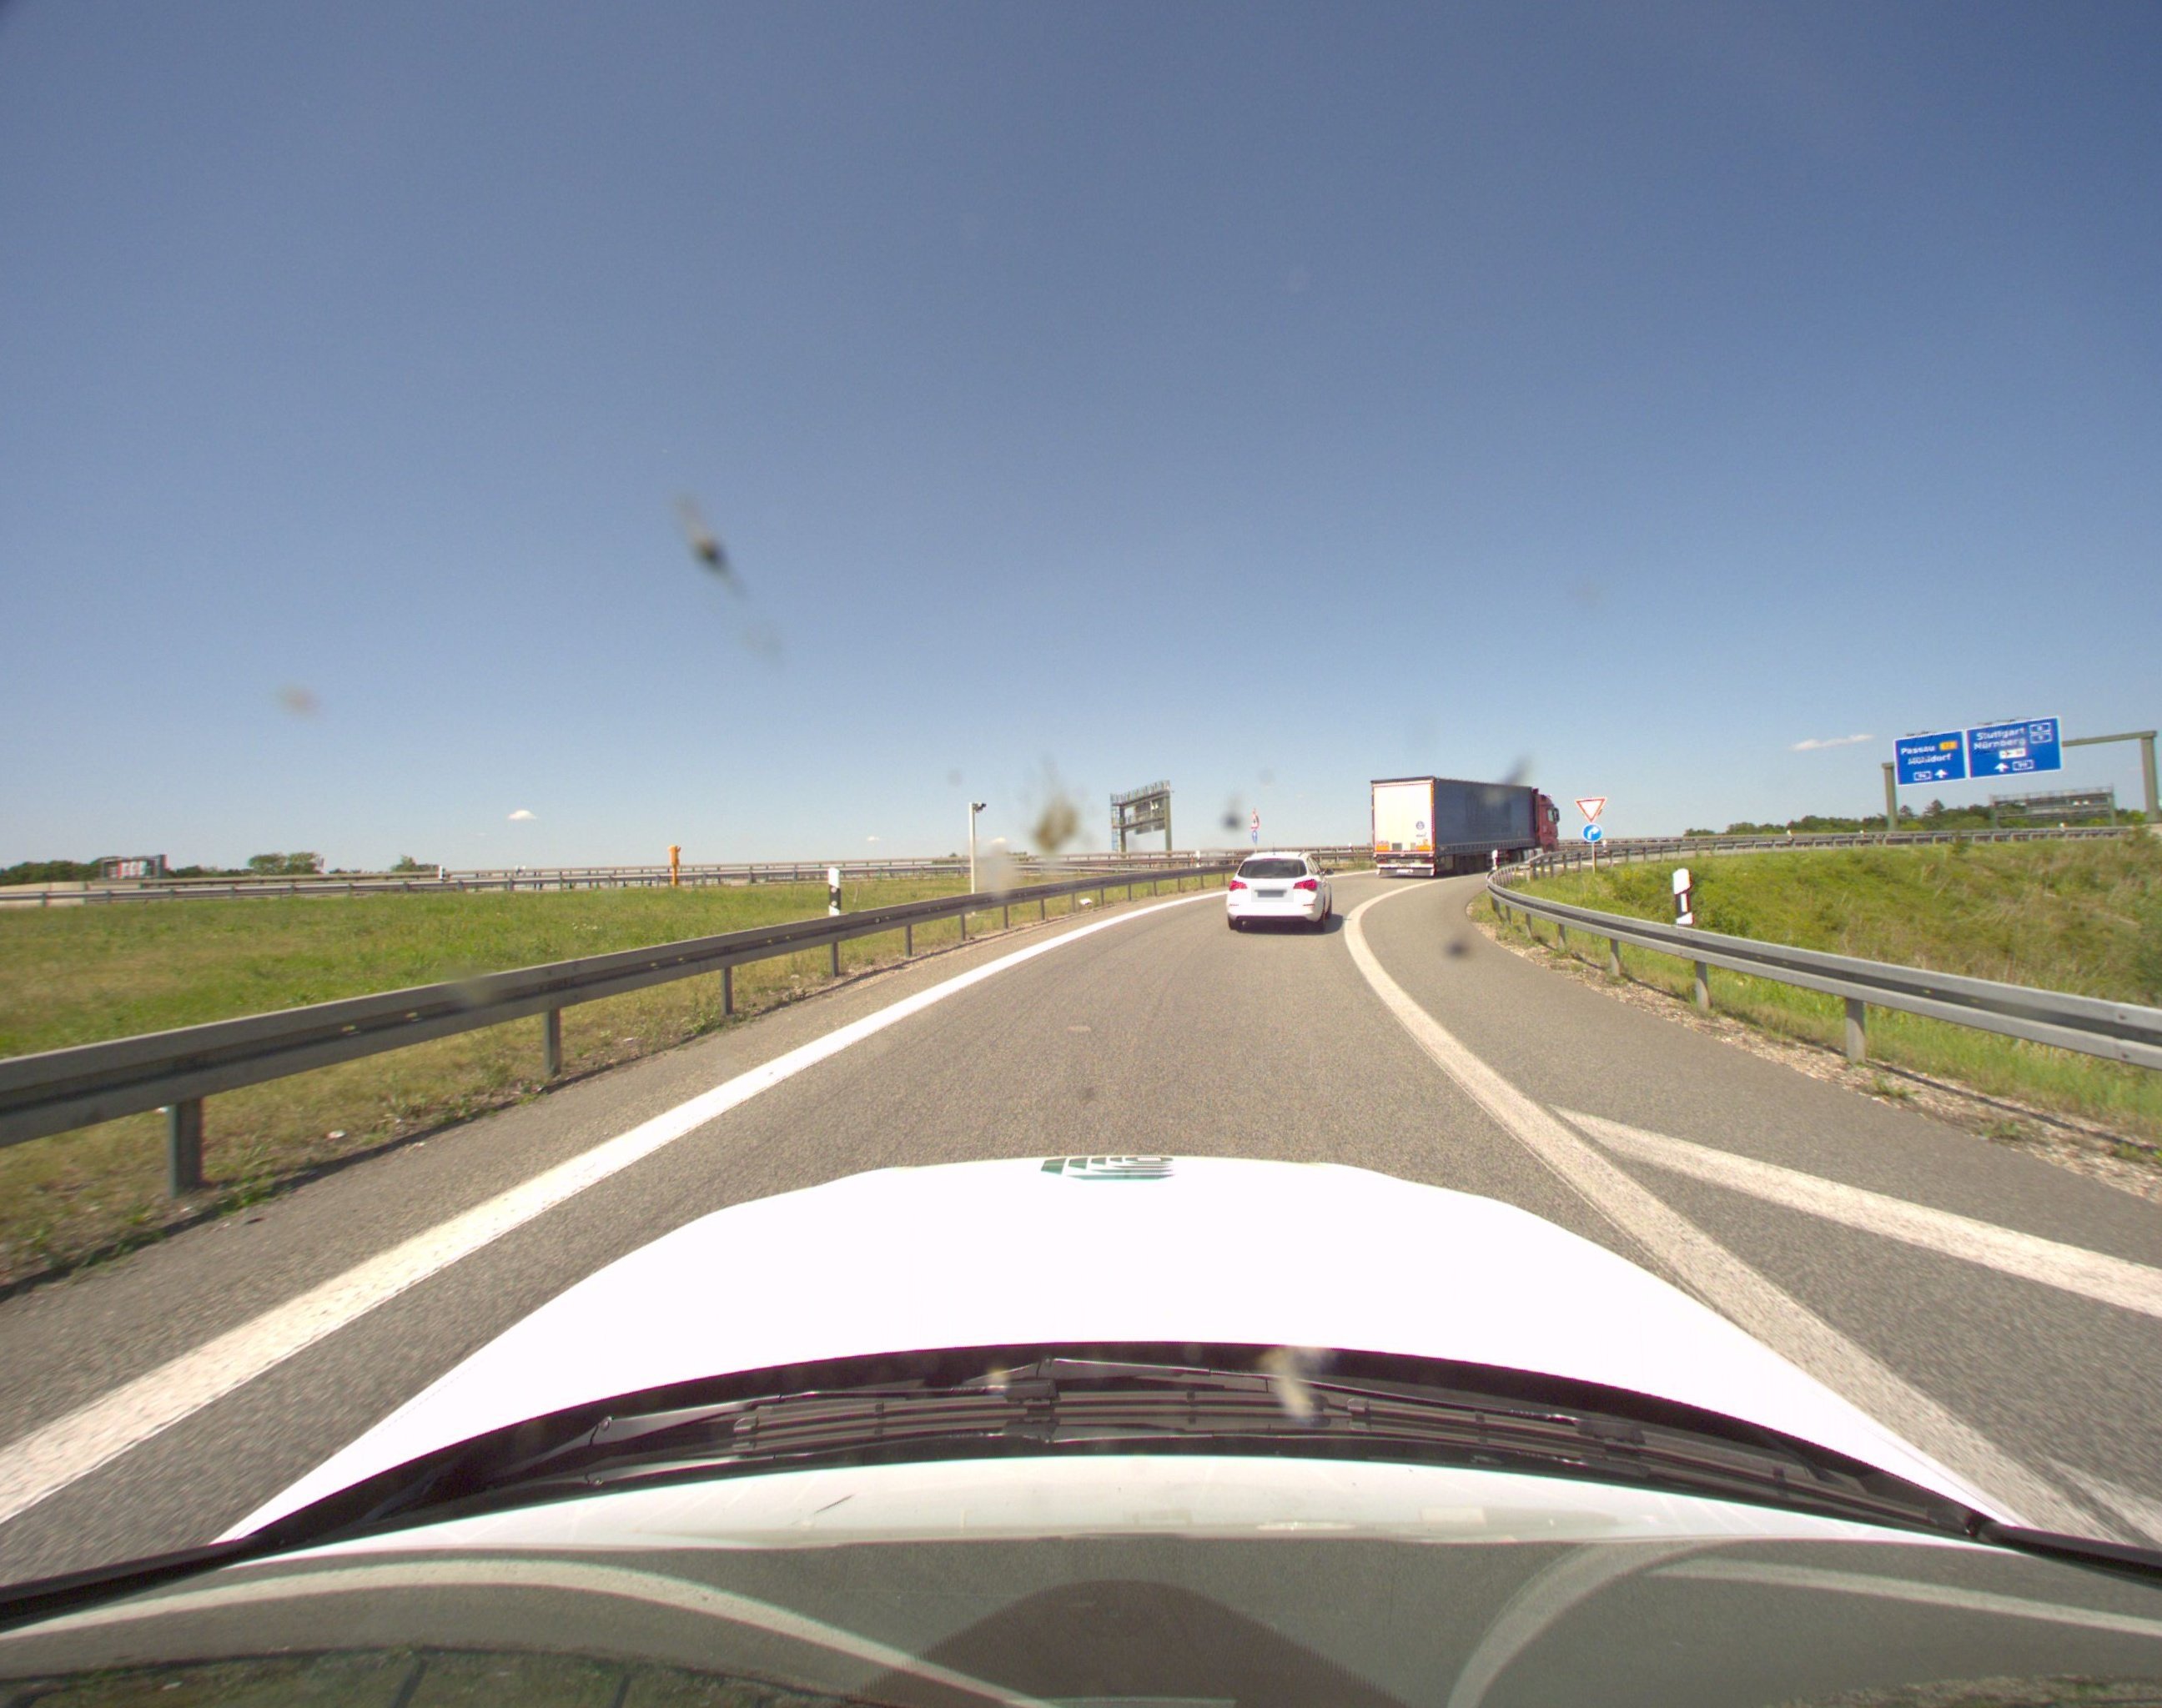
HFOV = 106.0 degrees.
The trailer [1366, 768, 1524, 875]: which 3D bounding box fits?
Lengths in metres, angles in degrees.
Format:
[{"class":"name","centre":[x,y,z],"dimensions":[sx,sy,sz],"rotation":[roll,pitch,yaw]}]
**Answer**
[{"class":"trailer","centre":[16.722,-1.231,36.744],"dimensions":[2.885,4.145,11.324],"rotation":[-1,-1,43]}]

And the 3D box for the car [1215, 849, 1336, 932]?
[{"class":"car","centre":[4.071,0.653,16.528],"dimensions":[1.838,1.443,4.394],"rotation":[-1,-1,20]}]

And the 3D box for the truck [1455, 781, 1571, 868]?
[{"class":"truck","centre":[22.506,-1.382,42.287],"dimensions":[6.961,4.145,2.888],"rotation":[0,-1,-40]}]
